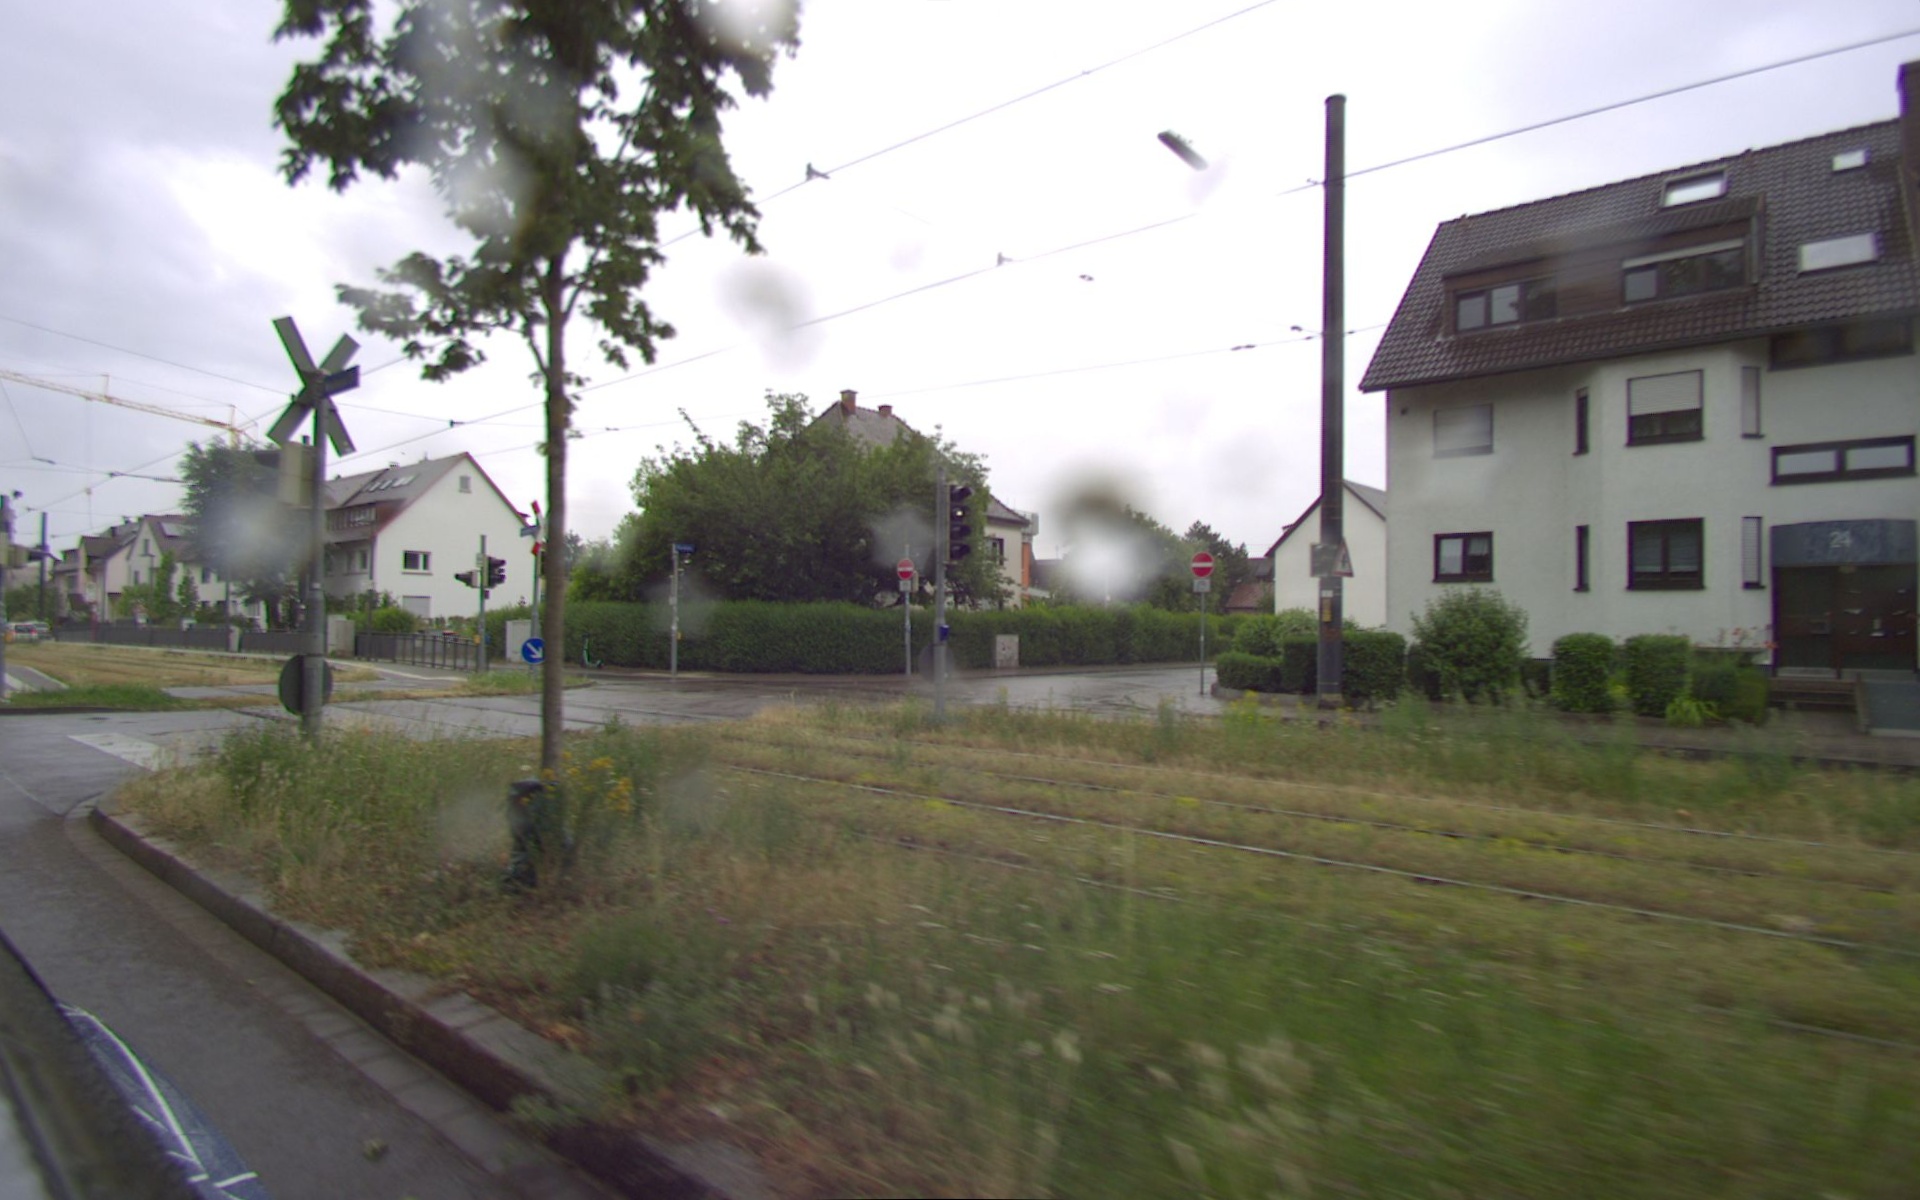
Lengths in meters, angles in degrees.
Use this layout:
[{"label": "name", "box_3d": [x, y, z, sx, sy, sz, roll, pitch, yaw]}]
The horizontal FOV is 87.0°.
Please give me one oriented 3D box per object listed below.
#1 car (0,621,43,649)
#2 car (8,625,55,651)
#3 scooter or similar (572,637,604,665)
[{"label": "car", "box_3d": [-70.004, 2.580, 74.961, 3.986, 2.029, 1.979, -1, -2, 31]}, {"label": "car", "box_3d": [-75.046, 3.073, 81.764, 3.991, 2.029, 1.976, -1, -3, 36]}, {"label": "scooter or similar", "box_3d": [-12.334, 1.689, 33.551, 1.256, 0.917, 0.343, -1, -3, 36]}]
